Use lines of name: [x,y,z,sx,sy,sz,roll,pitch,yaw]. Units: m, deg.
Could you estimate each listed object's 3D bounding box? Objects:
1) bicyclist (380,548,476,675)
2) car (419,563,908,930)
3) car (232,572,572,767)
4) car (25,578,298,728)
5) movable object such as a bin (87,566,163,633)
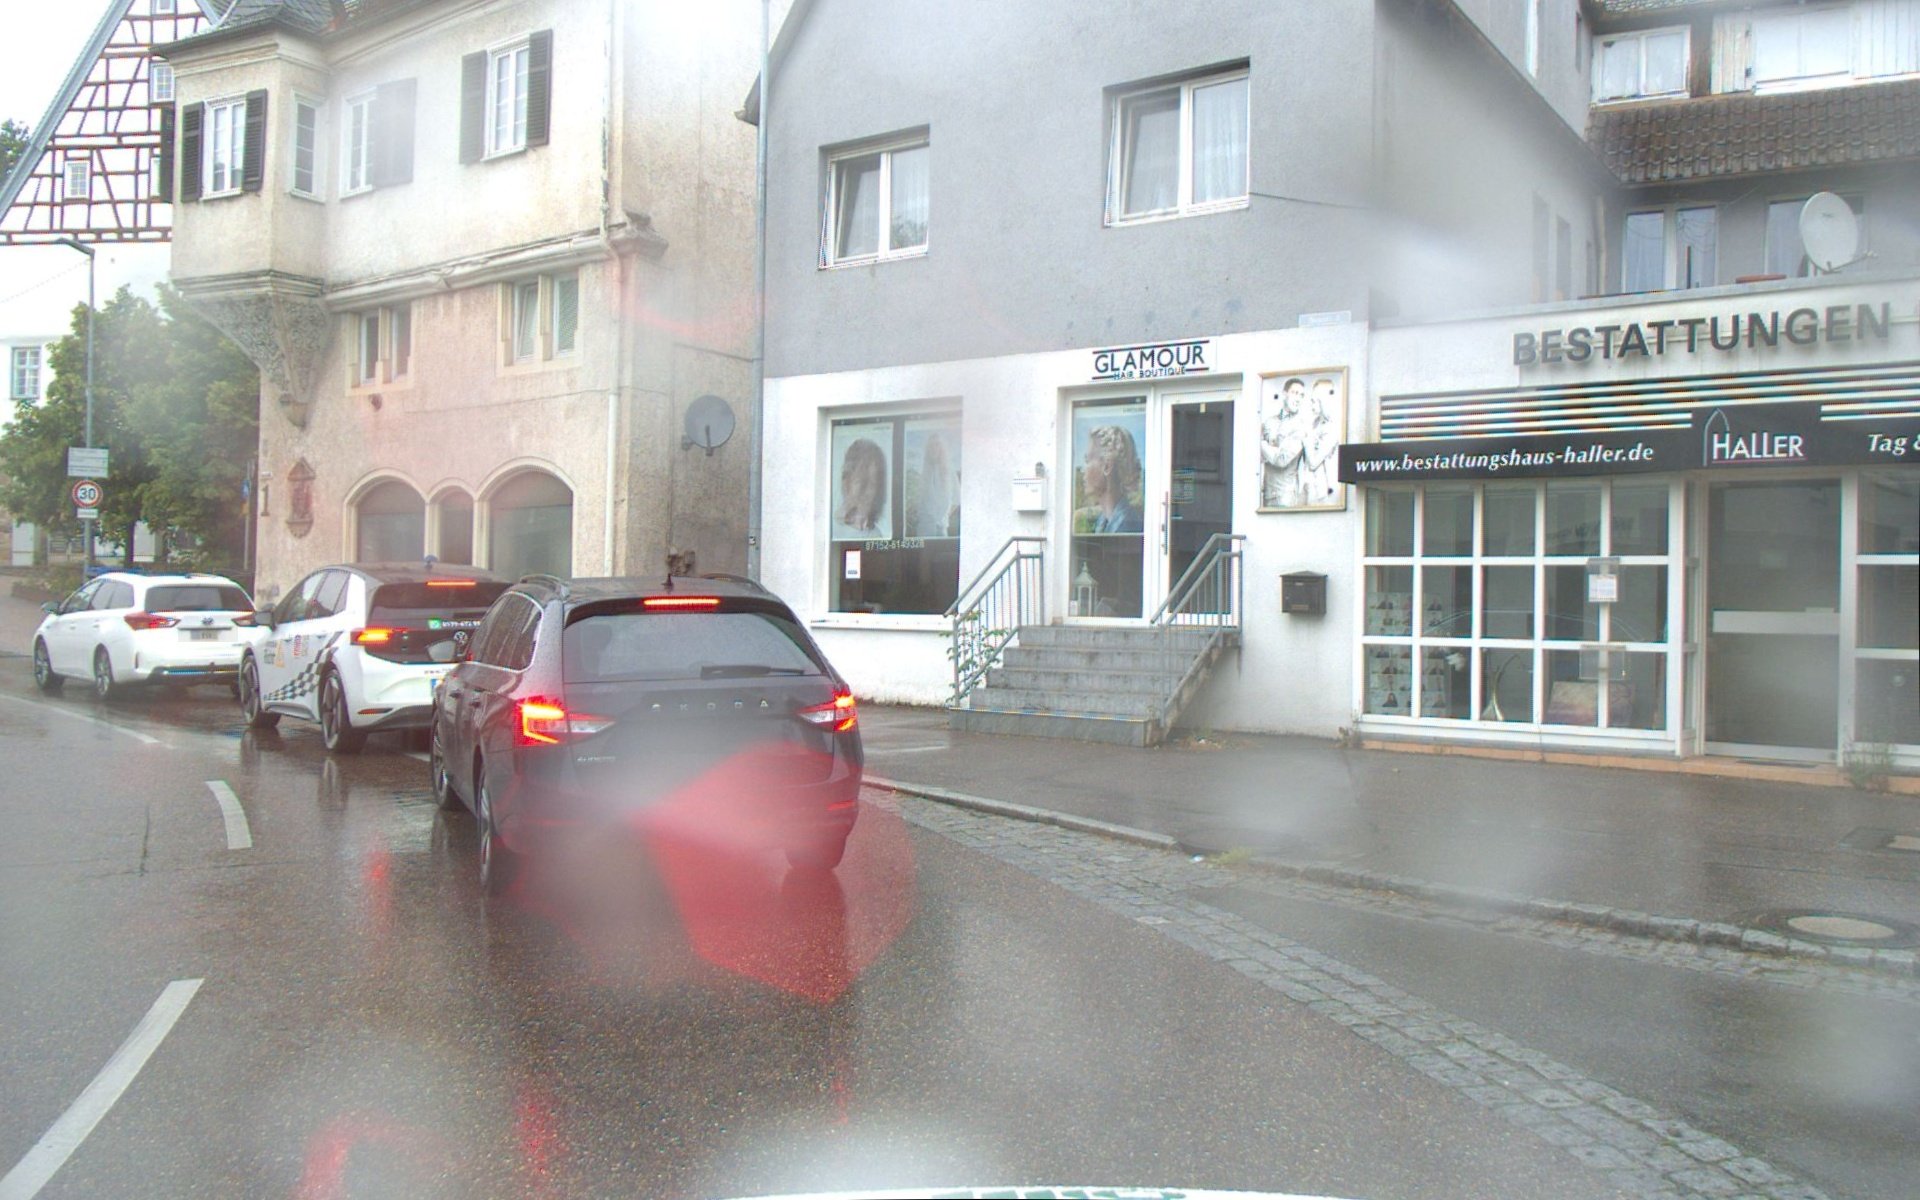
bicyclist: [-6.709,0.134,20.866,1.010,1.544,0.682,2,1,37]
car: [-1.866,0.575,9.016,1.860,1.473,4.329,0,0,-21]
car: [-5.122,0.517,14.861,1.842,1.498,3.949,0,0,-36]
car: [-9.840,0.560,20.223,1.876,1.624,4.258,0,0,-43]
movable object such as a bin: [-17.330,-0.011,34.319,1.148,1.336,1.169,1,0,-41]
